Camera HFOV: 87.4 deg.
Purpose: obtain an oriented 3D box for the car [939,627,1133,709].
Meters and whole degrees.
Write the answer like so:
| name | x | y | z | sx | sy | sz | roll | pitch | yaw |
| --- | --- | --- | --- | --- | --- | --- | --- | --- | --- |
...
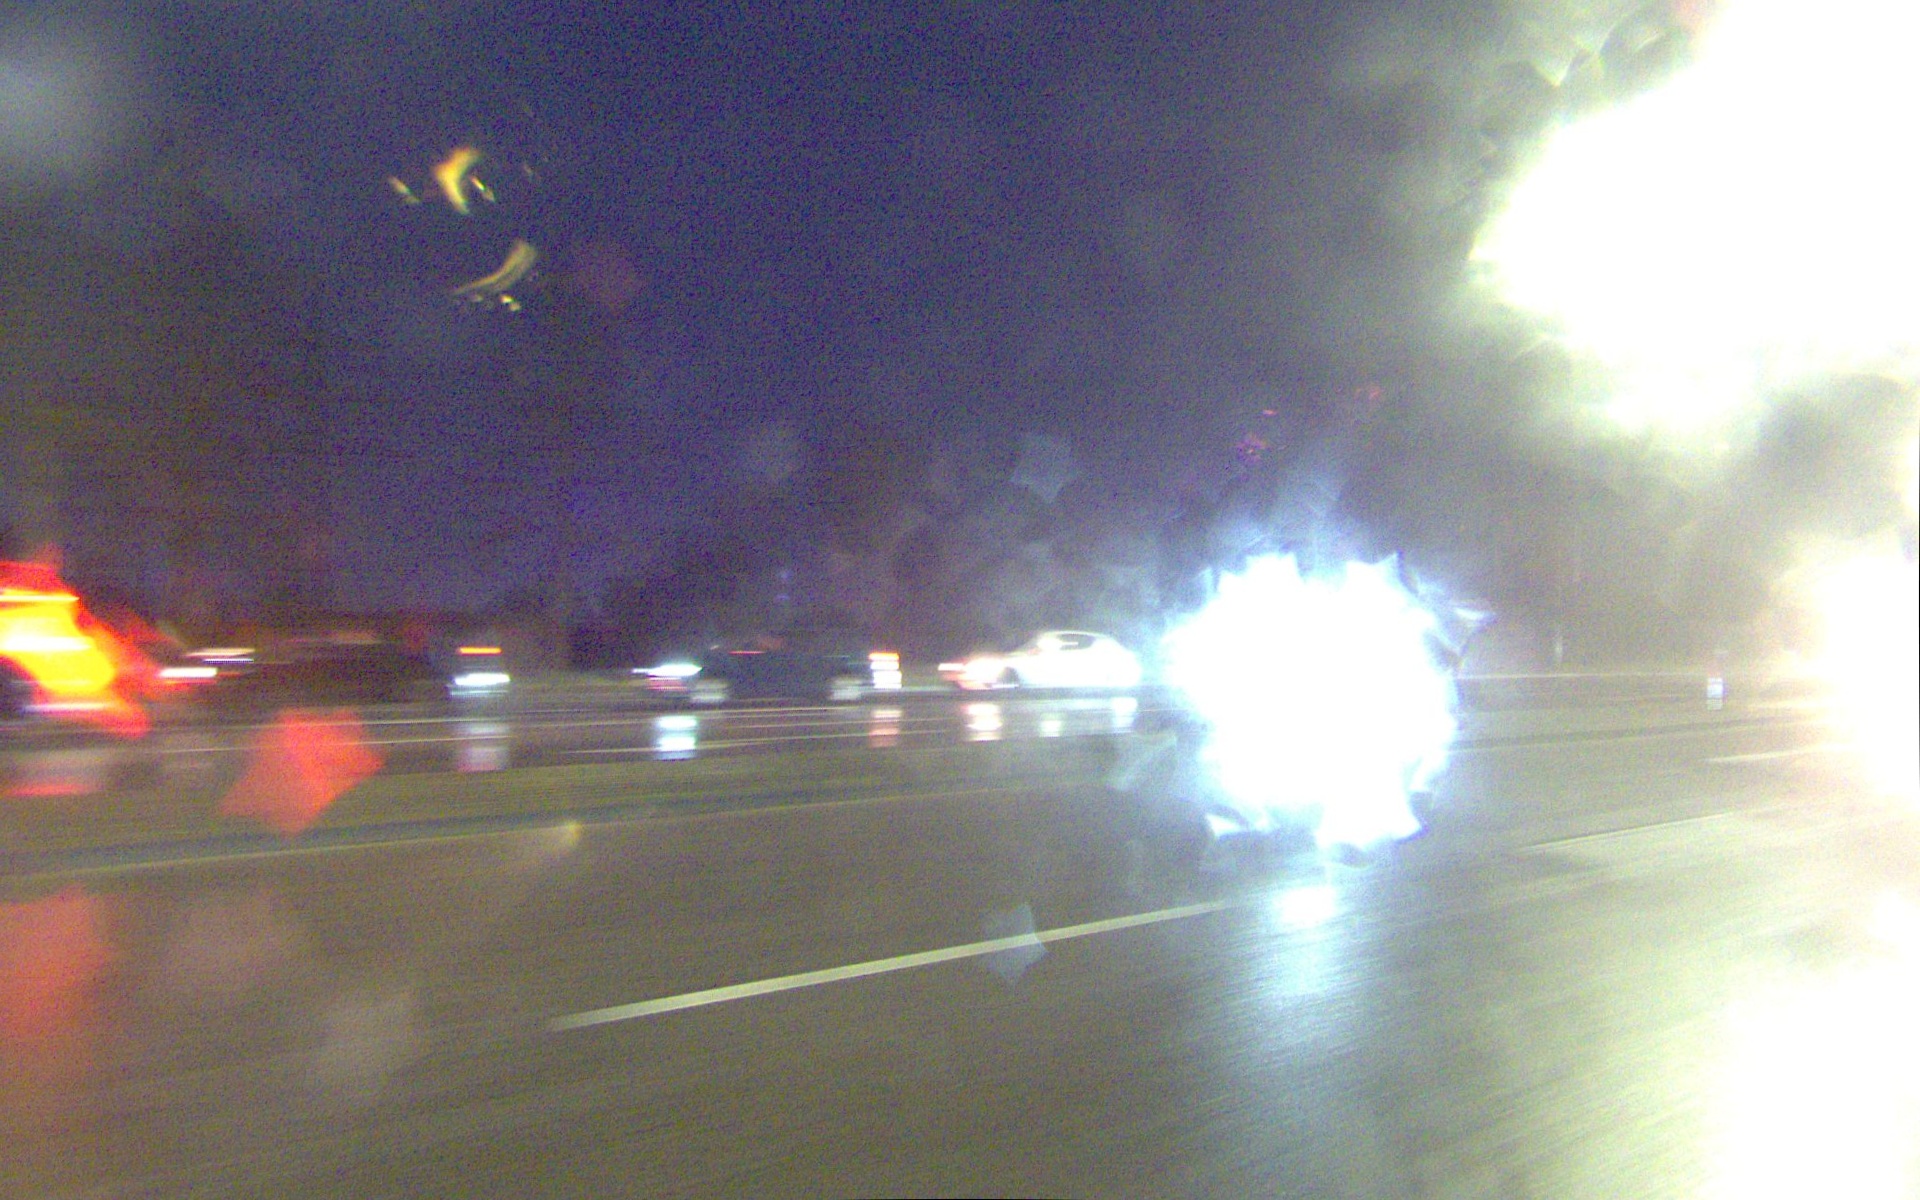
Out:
| name | x | y | z | sx | sy | sz | roll | pitch | yaw |
| --- | --- | --- | --- | --- | --- | --- | --- | --- | --- |
| car | 1.684 | 1.431 | 21.832 | 4.097 | 1.623 | 1.486 | 2 | -1 | -30 |

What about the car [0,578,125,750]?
| name | x | y | z | sx | sy | sz | roll | pitch | yaw |
| --- | --- | --- | --- | --- | --- | --- | --- | --- | --- |
| car | -11.237 | 0.590 | 9.809 | 4.435 | 1.688 | 1.790 | 2 | -1 | -30 |

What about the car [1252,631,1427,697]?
| name | x | y | z | sx | sy | sz | roll | pitch | yaw |
| --- | --- | --- | --- | --- | --- | --- | --- | --- | --- |
| car | 9.842 | 1.615 | 25.978 | 4.378 | 1.551 | 1.875 | 2 | -1 | -29 |

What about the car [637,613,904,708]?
| name | x | y | z | sx | sy | sz | roll | pitch | yaw |
| --- | --- | --- | --- | --- | --- | --- | --- | --- | --- |
| car | -3.442 | 1.168 | 18.555 | 4.482 | 1.558 | 1.843 | 4 | -5 | -31 |

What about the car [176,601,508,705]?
| name | x | y | z | sx | sy | sz | roll | pitch | yaw |
| --- | --- | --- | --- | --- | --- | --- | --- | --- | --- |
| car | -9.139 | 0.824 | 15.184 | 3.994 | 1.395 | 1.751 | 4 | -2 | -31 |
